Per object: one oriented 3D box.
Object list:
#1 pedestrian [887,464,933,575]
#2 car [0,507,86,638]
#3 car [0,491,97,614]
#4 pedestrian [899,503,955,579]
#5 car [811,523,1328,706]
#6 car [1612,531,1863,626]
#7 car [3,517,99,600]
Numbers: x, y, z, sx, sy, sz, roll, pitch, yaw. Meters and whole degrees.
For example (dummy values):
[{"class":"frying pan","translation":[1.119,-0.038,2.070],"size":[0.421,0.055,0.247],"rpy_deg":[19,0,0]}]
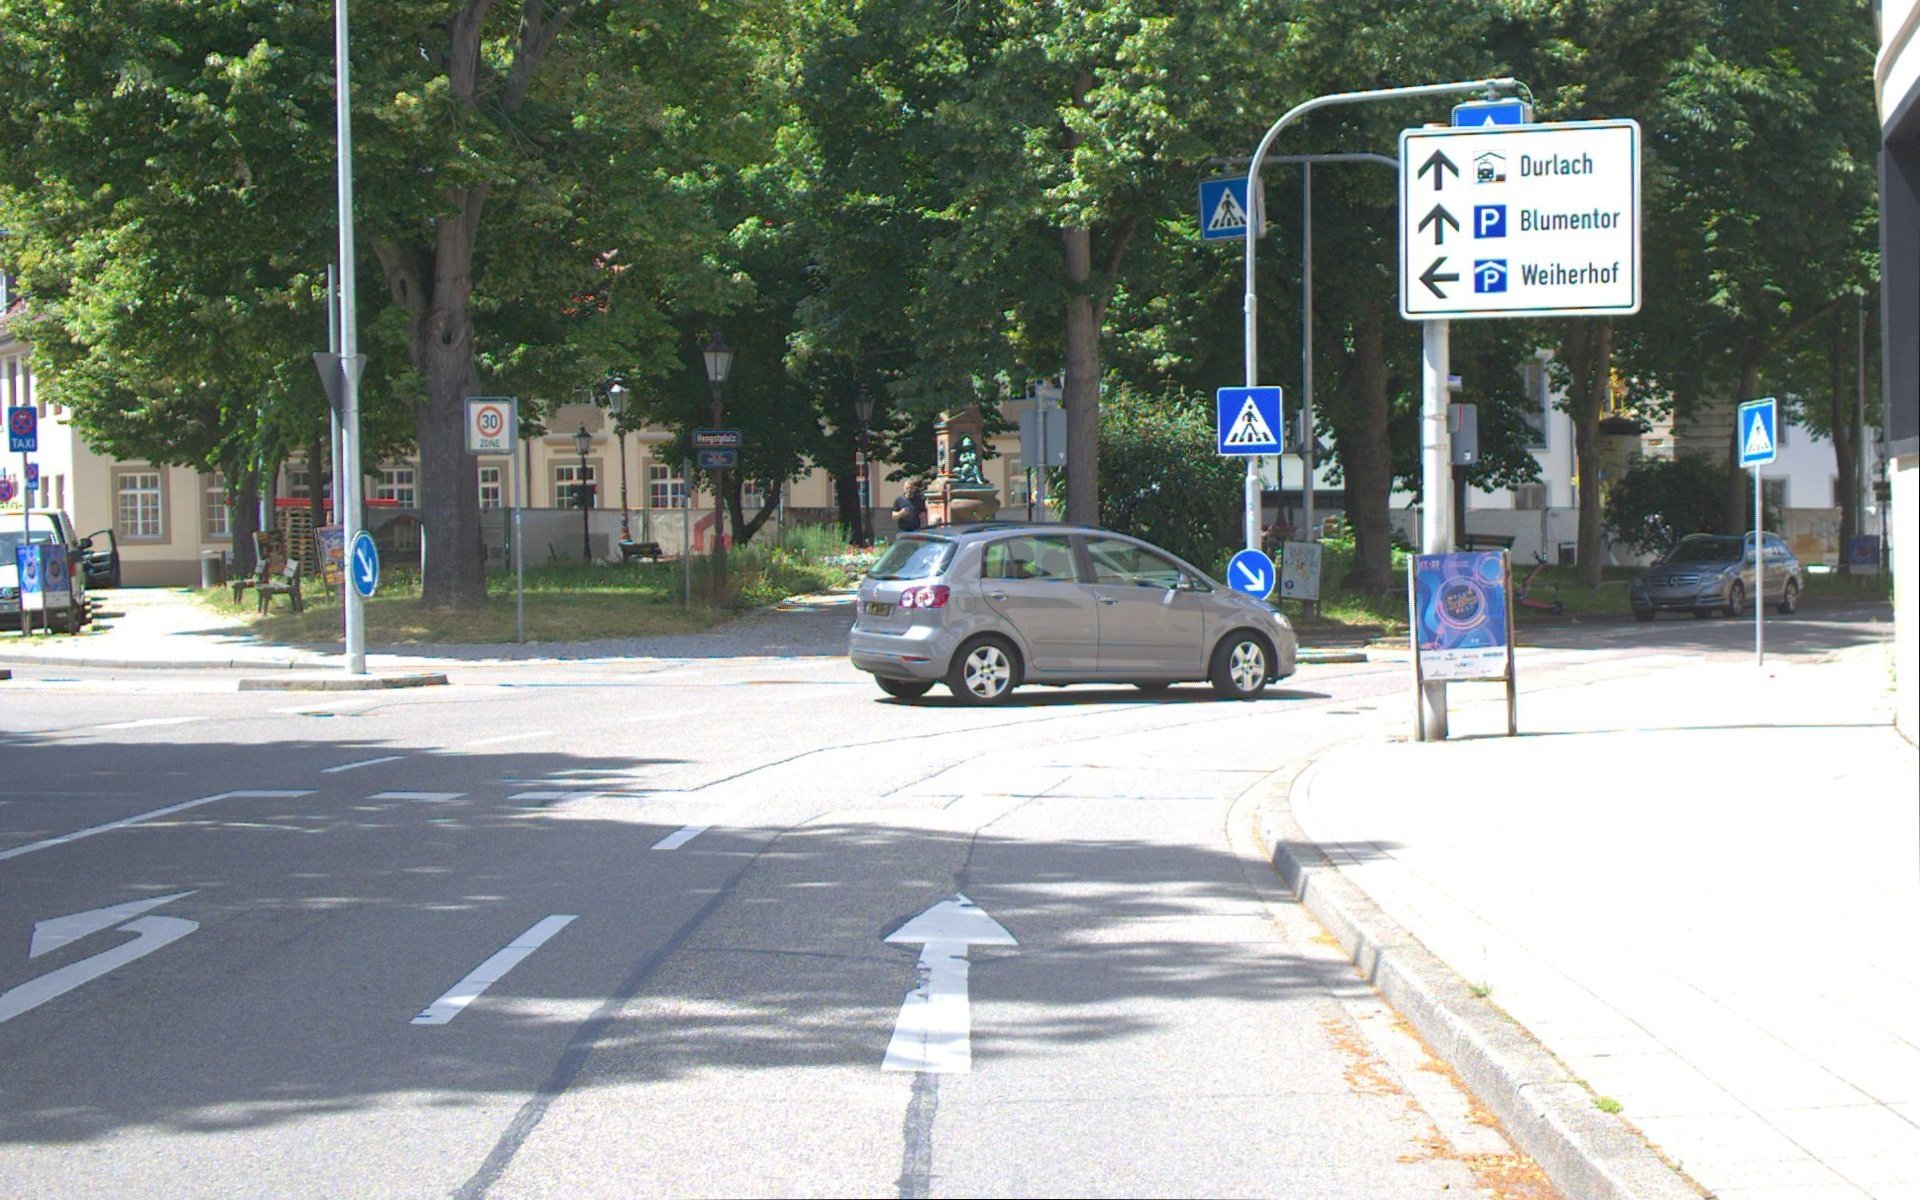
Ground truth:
[{"class":"pedestrian","translation":[-0.863,-1.400,59.874],"size":[0.748,1.904,0.684],"rpy_deg":[-1,3,1]},{"class":"car","translation":[-13.840,-0.429,50.288],"size":[1.993,1.820,4.424],"rpy_deg":[-1,2,-14]},{"class":"car","translation":[-15.911,-0.836,58.818],"size":[2.049,1.995,5.251],"rpy_deg":[-1,2,-13]},{"class":"pedestrian","translation":[-0.568,-1.012,58.932],"size":[0.906,1.247,1.148],"rpy_deg":[-1,3,1]},{"class":"car","translation":[0.986,0.086,30.888],"size":[4.229,1.528,1.910],"rpy_deg":[-1,1,-25]},{"class":"car","translation":[13.146,-0.388,58.013],"size":[4.395,1.483,1.743],"rpy_deg":[-2,2,-38]},{"class":"car","translation":[-19.205,-0.908,72.723],"size":[1.782,1.687,4.202],"rpy_deg":[-1,2,-13]}]
